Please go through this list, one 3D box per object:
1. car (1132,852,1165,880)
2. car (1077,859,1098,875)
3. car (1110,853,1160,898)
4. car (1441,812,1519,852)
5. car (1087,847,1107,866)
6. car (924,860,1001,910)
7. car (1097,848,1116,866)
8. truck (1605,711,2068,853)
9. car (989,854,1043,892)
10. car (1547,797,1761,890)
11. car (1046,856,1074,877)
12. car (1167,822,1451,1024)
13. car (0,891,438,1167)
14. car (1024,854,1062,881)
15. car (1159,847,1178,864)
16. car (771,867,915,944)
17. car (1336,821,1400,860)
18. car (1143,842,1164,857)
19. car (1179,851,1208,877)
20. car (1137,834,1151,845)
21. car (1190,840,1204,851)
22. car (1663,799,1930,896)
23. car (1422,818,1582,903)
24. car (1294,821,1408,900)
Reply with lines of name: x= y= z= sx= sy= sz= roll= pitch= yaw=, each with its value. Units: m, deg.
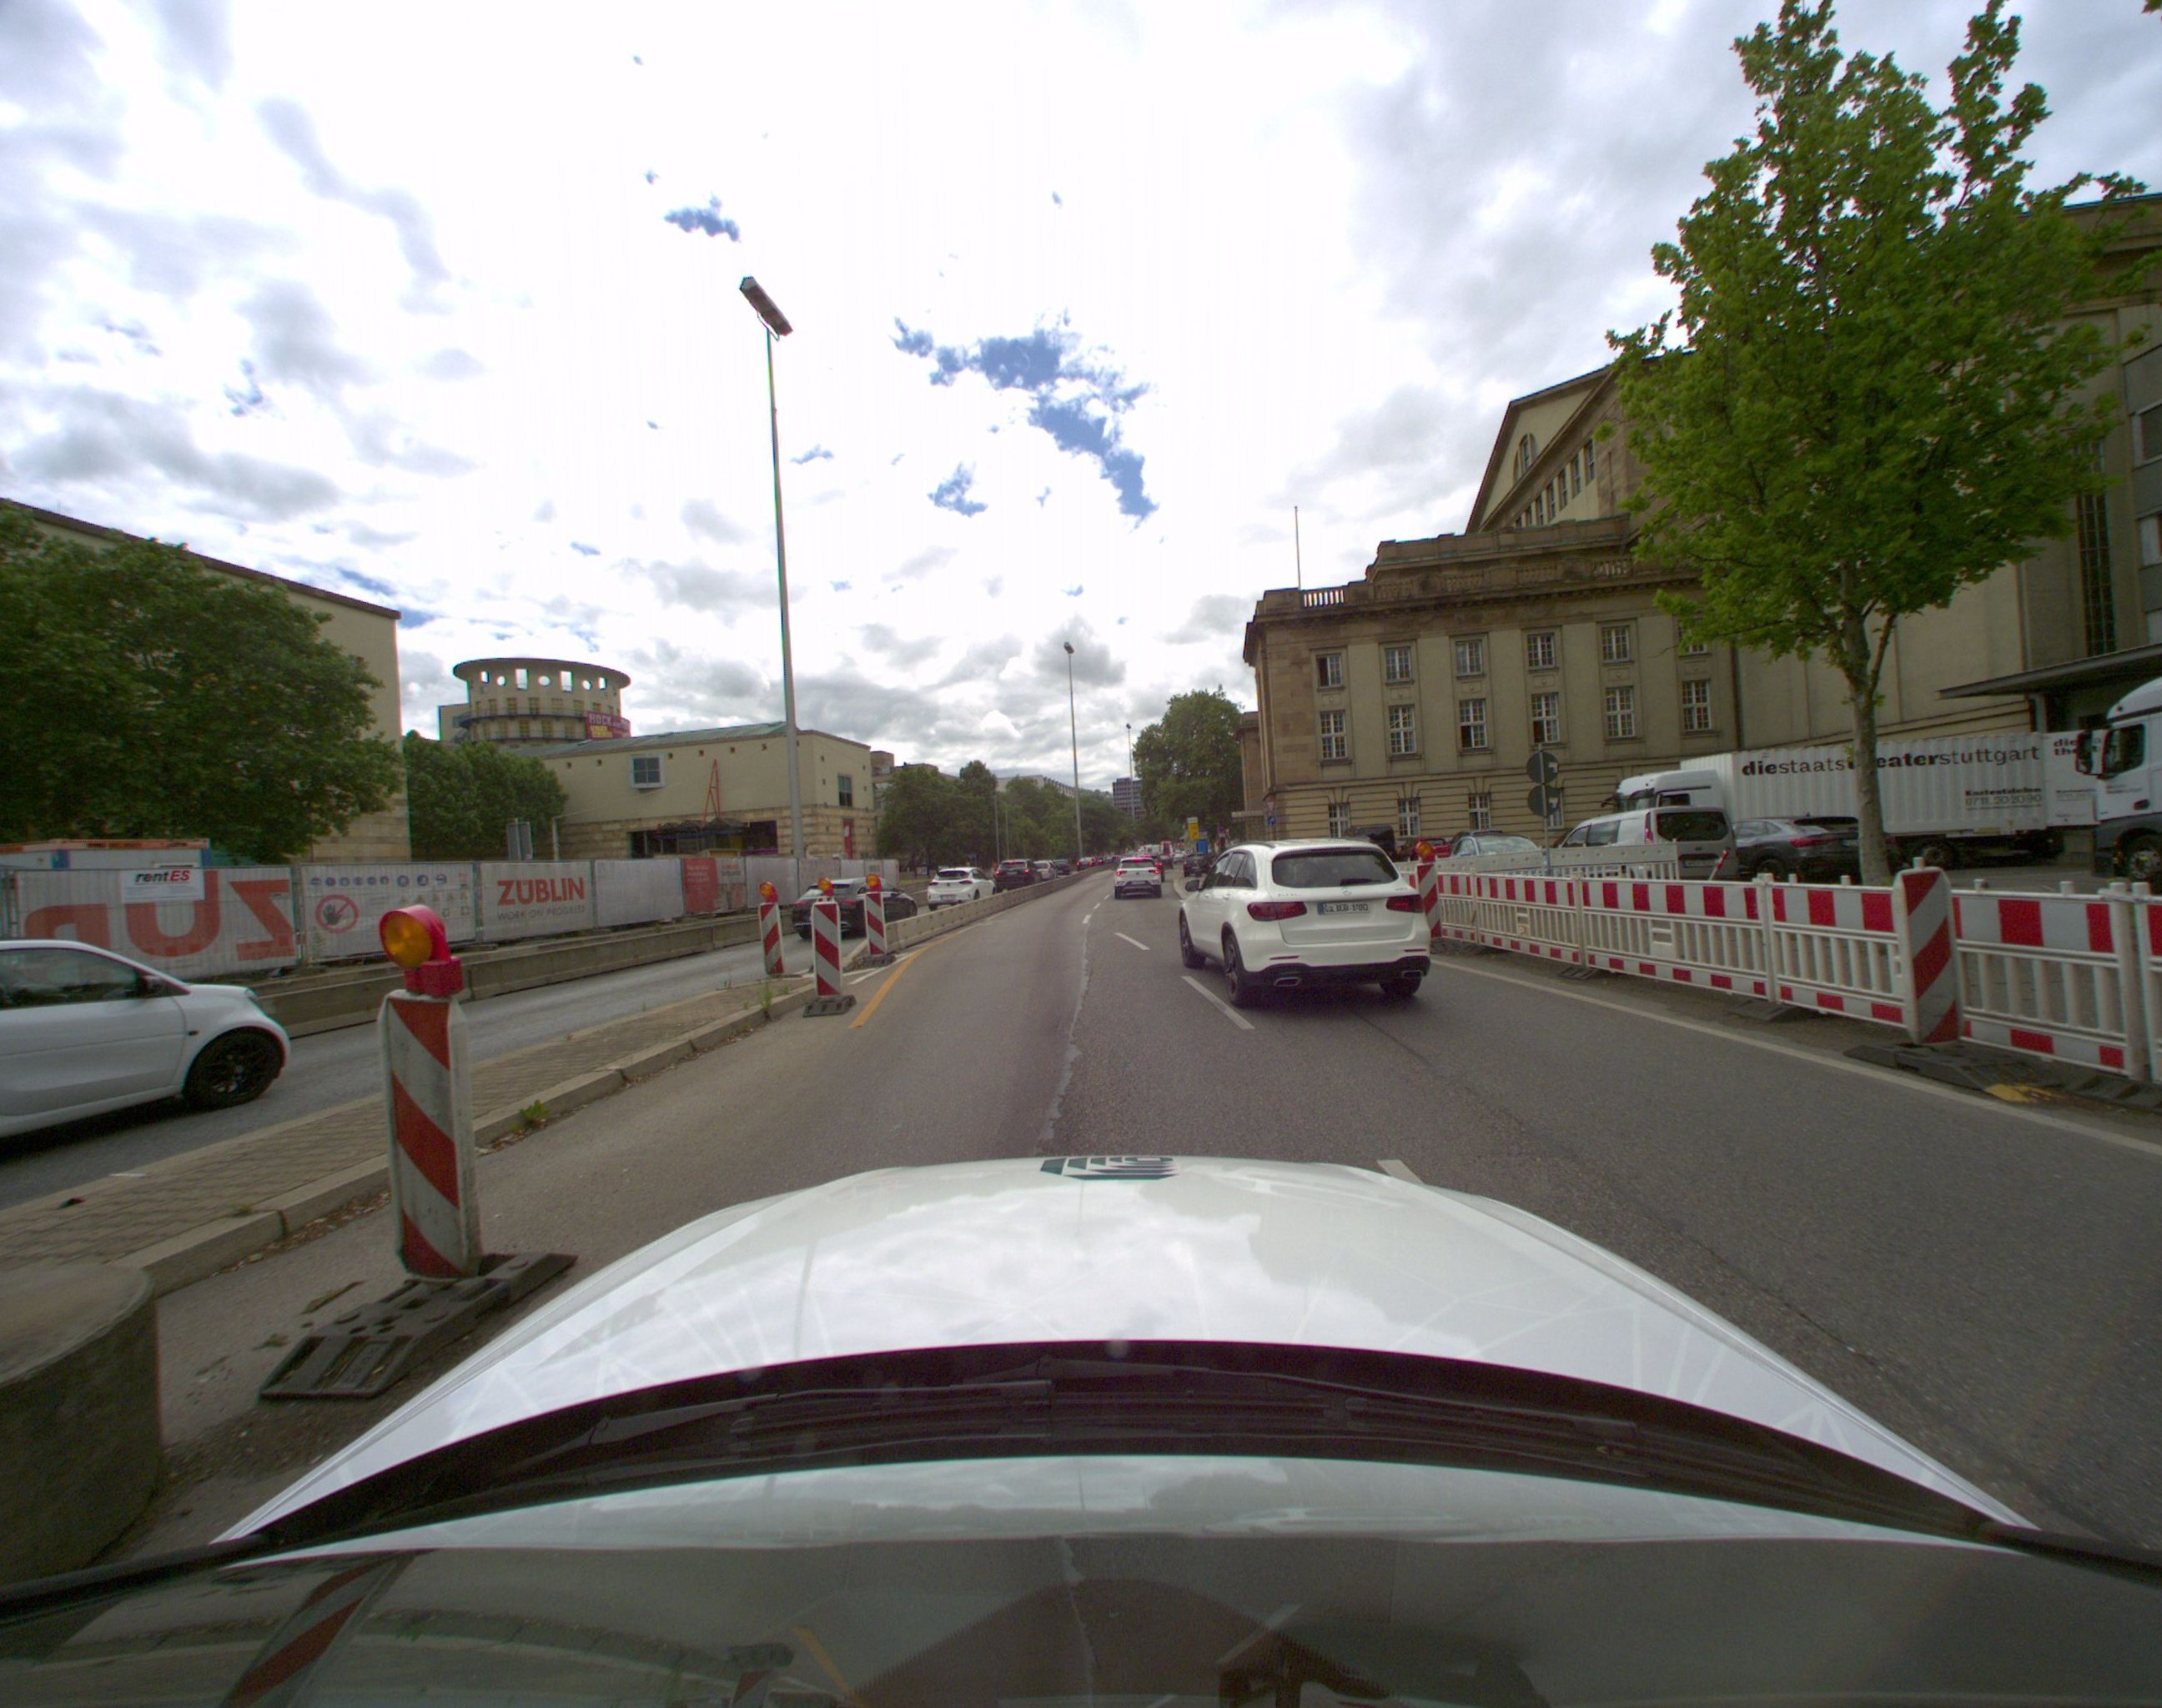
car: x=3.987 y=0.707 z=48.796 sx=1.815 sy=1.568 sz=4.484 roll=-3 pitch=-1 yaw=4
car: x=0.719 y=1.339 z=87.609 sx=1.742 sy=1.568 sz=4.337 roll=-4 pitch=0 yaw=5
car: x=2.190 y=0.797 z=32.136 sx=1.741 sy=1.568 sz=4.339 roll=-2 pitch=0 yaw=6
car: x=17.905 y=-0.927 z=36.767 sx=1.846 sy=1.568 sz=4.341 roll=-3 pitch=-1 yaw=8
car: x=1.948 y=0.303 z=95.902 sx=1.984 sy=2.013 sz=4.006 roll=-4 pitch=1 yaw=5
car: x=-4.168 y=1.060 z=29.193 sx=1.740 sy=1.567 sz=3.385 roll=-3 pitch=0 yaw=8
car: x=3.380 y=0.407 z=106.519 sx=1.983 sy=2.013 sz=4.008 roll=-4 pitch=1 yaw=6
truck: x=21.227 y=-1.904 z=23.478 sx=9.973 sy=3.050 sz=2.575 roll=-4 pitch=-1 yaw=8
car: x=-3.133 y=0.907 z=39.734 sx=1.741 sy=1.567 sz=3.385 roll=-6 pitch=-1 yaw=8
car: x=11.476 y=-0.171 z=16.744 sx=1.741 sy=1.568 sz=4.341 roll=-3 pitch=-1 yaw=8
car: x=-1.646 y=1.003 z=66.530 sx=1.743 sy=1.568 sz=4.336 roll=-4 pitch=0 yaw=4
car: x=2.278 y=0.612 z=9.532 sx=1.807 sy=1.642 sz=4.548 roll=-5 pitch=0 yaw=-2
car: x=-7.926 y=1.273 z=6.534 sx=1.983 sy=1.641 sz=4.008 roll=-4 pitch=0 yaw=7
car: x=-2.409 y=0.833 z=52.224 sx=1.742 sy=1.568 sz=4.337 roll=-4 pitch=0 yaw=5
car: x=8.876 y=0.119 z=82.420 sx=1.813 sy=1.567 sz=4.490 roll=-1 pitch=1 yaw=8
car: x=-5.775 y=1.191 z=20.389 sx=1.741 sy=1.568 sz=4.341 roll=-4 pitch=0 yaw=8
car: x=12.975 y=-0.580 z=37.041 sx=1.846 sy=1.568 sz=4.341 roll=-3 pitch=-1 yaw=8
car: x=12.242 y=-0.780 z=137.253 sx=2.565 sy=2.374 sz=5.545 roll=-4 pitch=0 yaw=12
car: x=7.468 y=0.612 z=54.240 sx=1.813 sy=1.567 sz=4.490 roll=-1 pitch=1 yaw=8
car: x=15.923 y=-3.691 z=204.881 sx=2.565 sy=2.374 sz=5.545 roll=-4 pitch=0 yaw=12
car: x=25.964 y=-1.917 z=182.891 sx=2.565 sy=2.374 sz=5.545 roll=-4 pitch=0 yaw=12
car: x=13.824 y=-0.093 z=16.162 sx=1.846 sy=1.568 sz=4.341 roll=-3 pitch=-1 yaw=8
car: x=9.177 y=0.148 z=18.184 sx=1.741 sy=1.568 sz=4.341 roll=-3 pitch=-1 yaw=8
car: x=6.260 y=0.149 z=19.349 sx=1.741 sy=1.568 sz=4.341 roll=-3 pitch=-1 yaw=8
